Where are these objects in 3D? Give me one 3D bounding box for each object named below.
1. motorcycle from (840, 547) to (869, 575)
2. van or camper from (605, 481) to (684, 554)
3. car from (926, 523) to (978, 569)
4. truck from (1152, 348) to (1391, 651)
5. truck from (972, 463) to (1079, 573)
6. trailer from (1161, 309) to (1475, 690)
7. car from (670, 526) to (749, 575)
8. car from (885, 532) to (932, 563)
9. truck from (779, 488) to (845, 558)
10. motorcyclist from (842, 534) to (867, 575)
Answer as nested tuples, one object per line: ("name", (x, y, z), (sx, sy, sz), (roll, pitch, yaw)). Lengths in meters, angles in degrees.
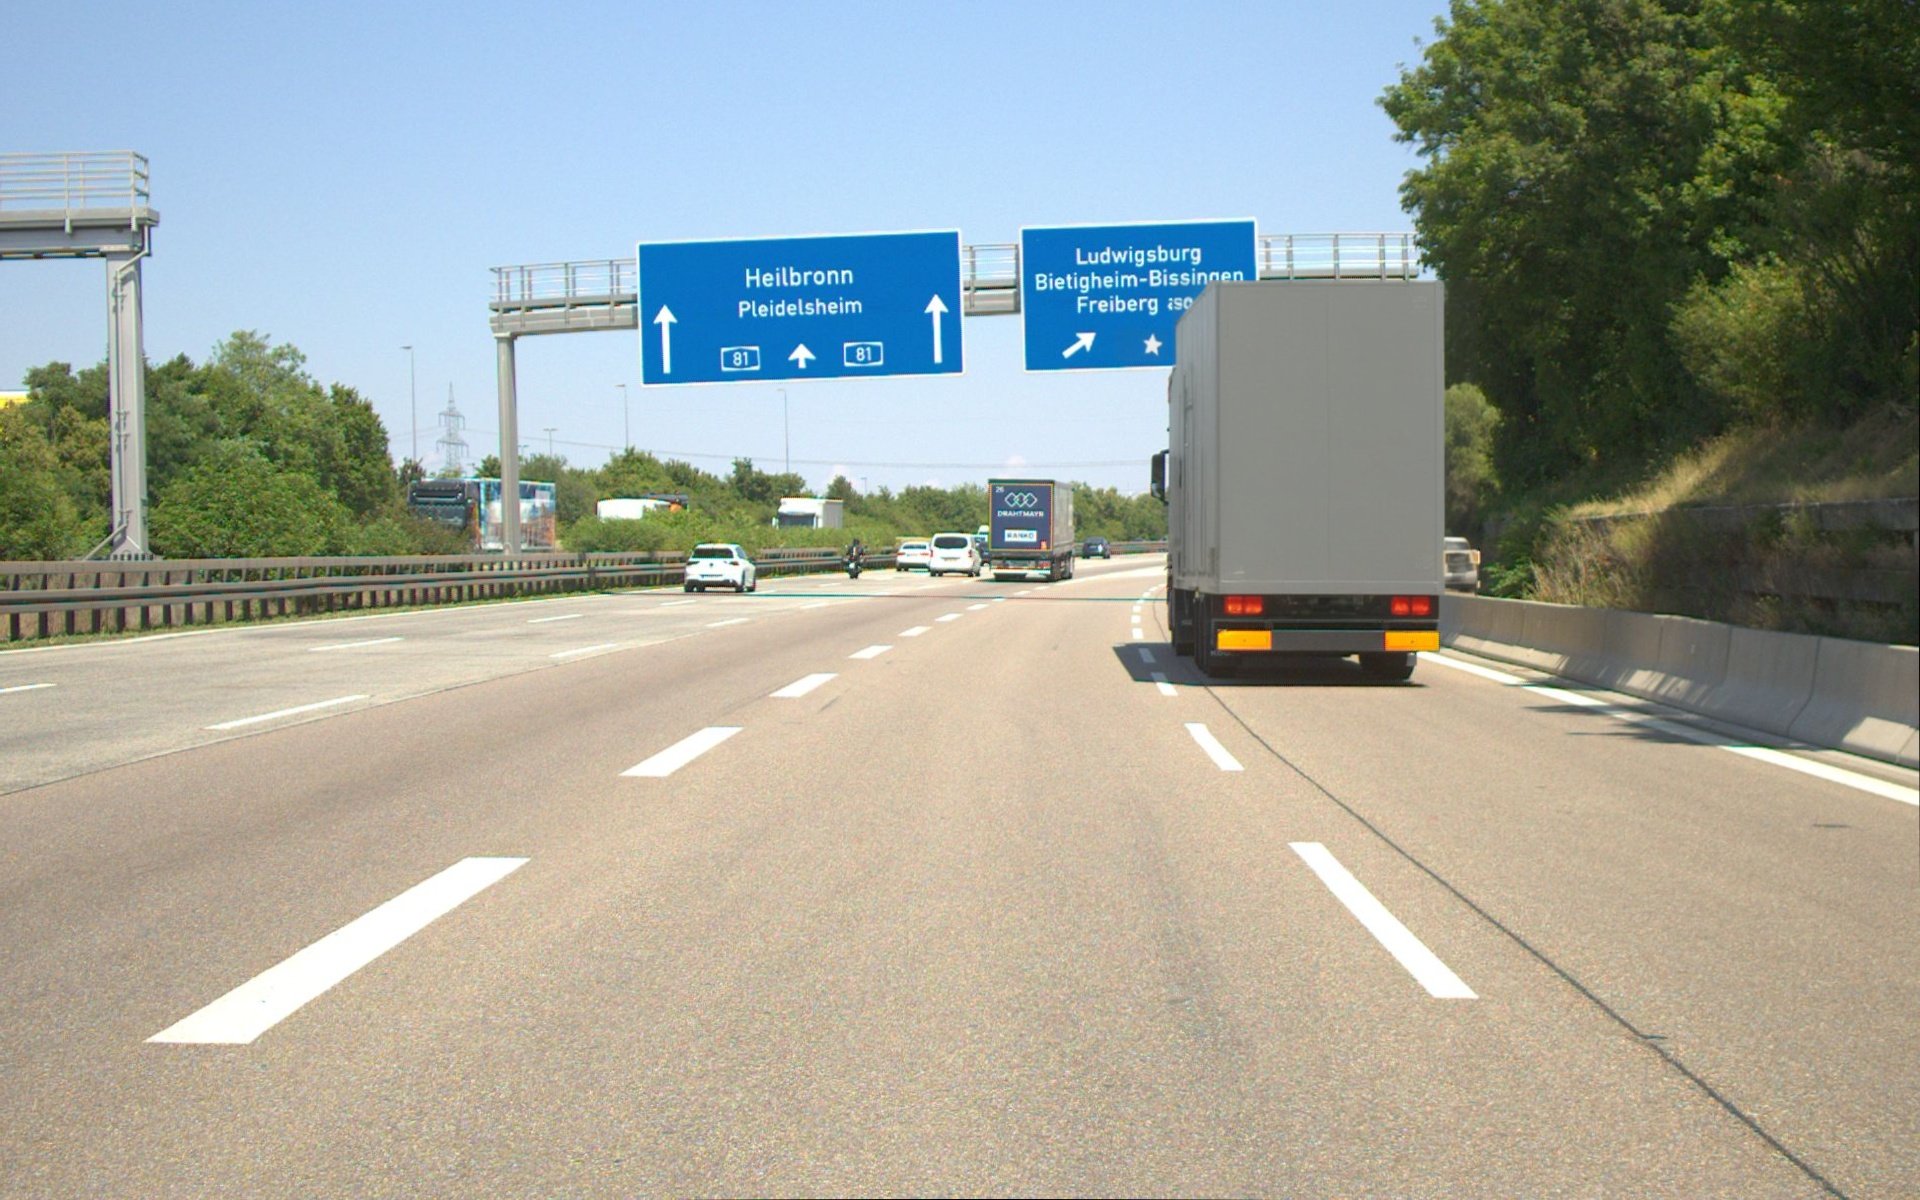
("motorcycle", (-4.229, -1.577, 137.724), (0.913, 1.085, 2.849), (0, 1, 3))
("van or camper", (-14.428, -3.775, 157.744), (2.475, 3.209, 7.822), (1, 1, 3))
("car", (-0.335, -2.364, 149.793), (1.931, 1.845, 4.692), (-1, 2, 4))
("truck", (4.362, -1.454, 49.568), (2.928, 4.001, 7.584), (-1, 2, 2))
("truck", (2.800, -3.341, 140.959), (3.747, 4.255, 14.494), (1, 1, 3))
("trailer", (4.140, -1.256, 42.419), (2.928, 4.001, 12.039), (-1, 2, 2))
("car", (-7.498, -1.471, 103.218), (1.782, 1.435, 4.668), (0, 1, 3))
("car", (-2.513, -2.558, 168.277), (1.877, 1.435, 5.125), (0, 0, 4))
("truck", (-9.032, -4.707, 210.709), (2.753, 4.193, 10.401), (1, 1, 4))
("motorcyclist", (-4.228, -1.831, 137.709), (0.893, 1.591, 1.299), (0, 2, 4))
